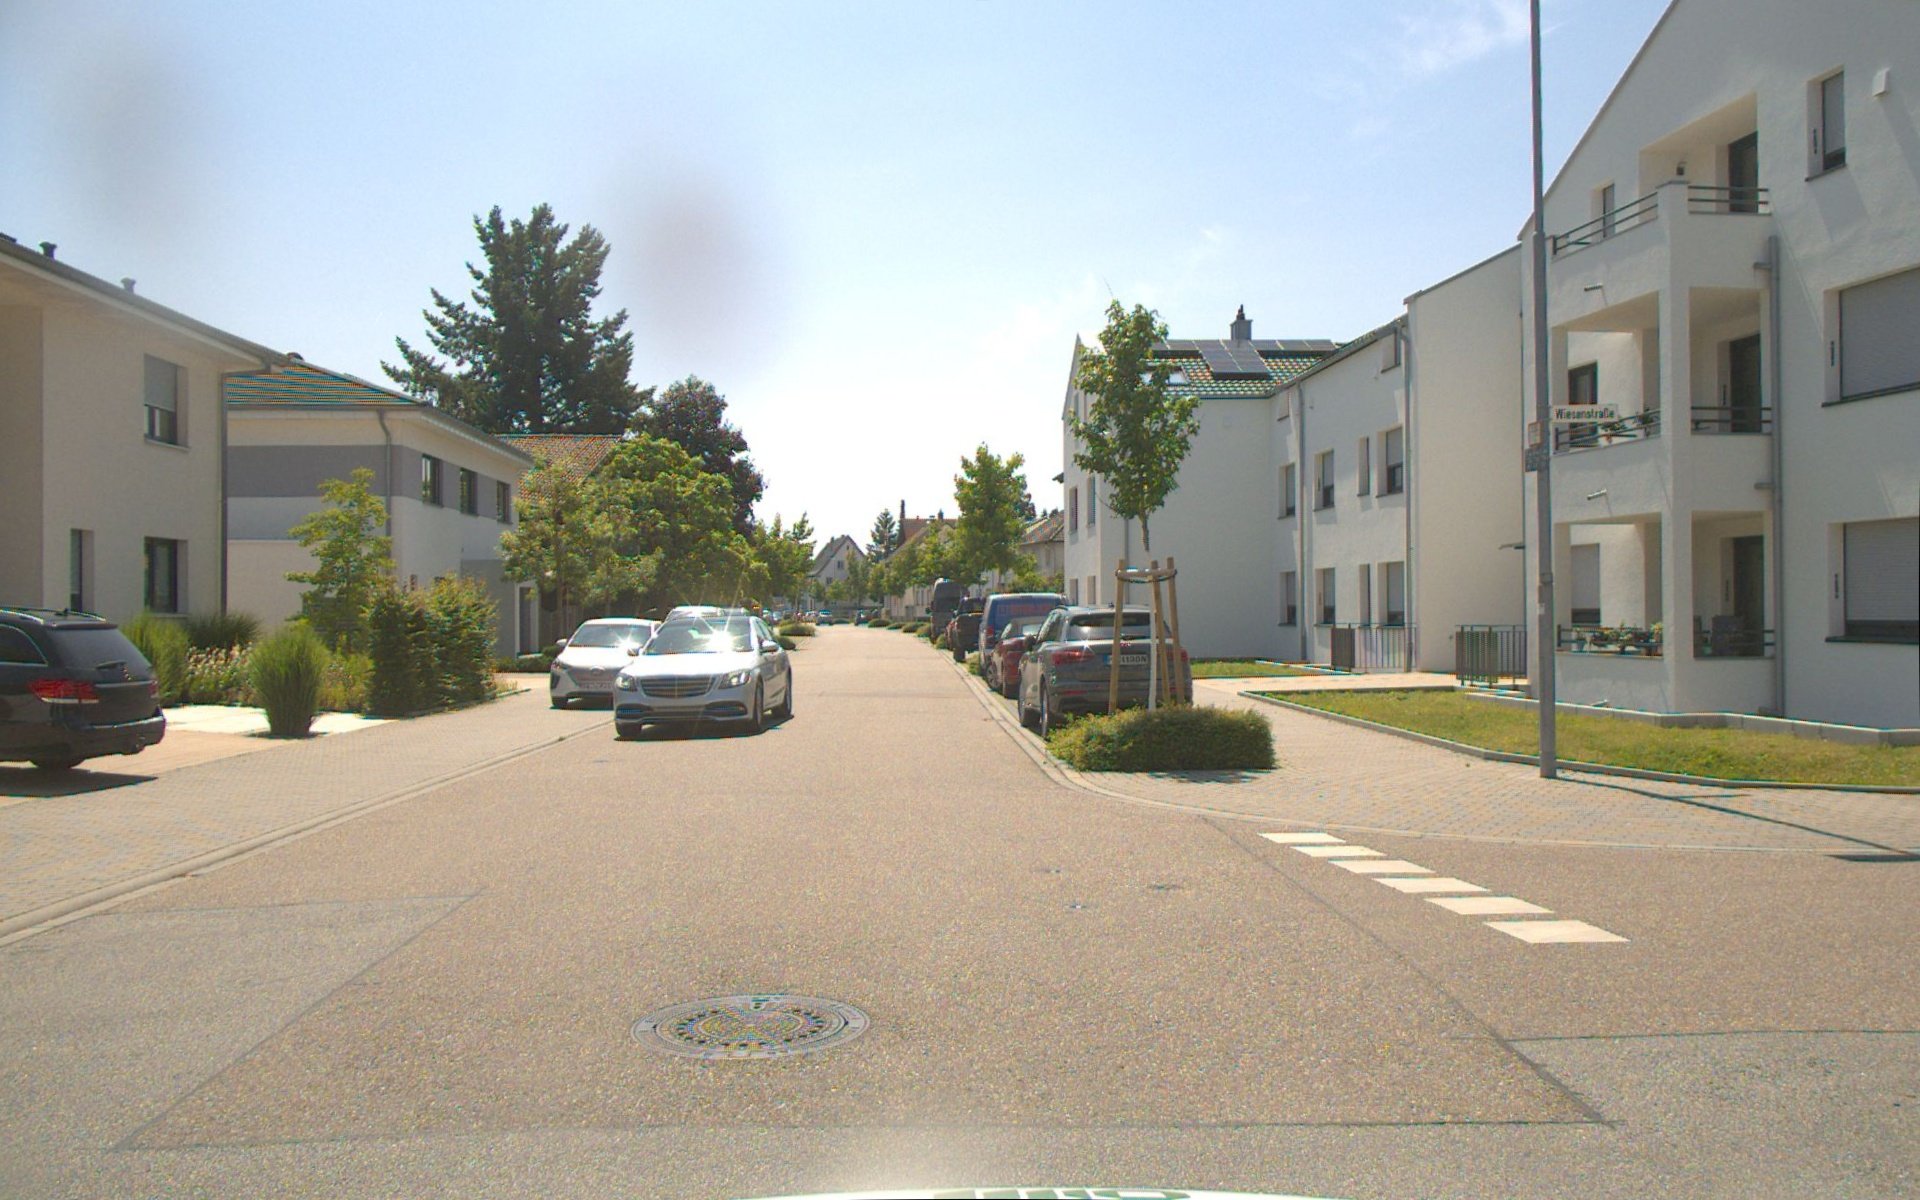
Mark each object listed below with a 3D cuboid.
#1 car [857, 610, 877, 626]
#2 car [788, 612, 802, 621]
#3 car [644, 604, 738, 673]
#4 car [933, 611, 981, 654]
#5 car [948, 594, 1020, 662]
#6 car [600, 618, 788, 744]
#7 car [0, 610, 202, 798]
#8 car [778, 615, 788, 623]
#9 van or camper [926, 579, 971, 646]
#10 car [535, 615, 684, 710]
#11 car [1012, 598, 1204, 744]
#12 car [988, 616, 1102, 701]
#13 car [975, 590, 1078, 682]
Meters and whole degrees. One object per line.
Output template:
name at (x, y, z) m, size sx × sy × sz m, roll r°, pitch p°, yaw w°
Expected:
car at (-9.573, 1.887, 170.744) m, size 1.953 × 1.601 × 3.998 m, roll -1°, pitch 0°, yaw -2°
car at (-23.036, 2.338, 230.613) m, size 1.634 × 1.272 × 3.920 m, roll -1°, pitch 0°, yaw -11°
car at (-7.088, 0.979, 44.021) m, size 1.888 × 1.716 × 4.496 m, roll -1°, pitch 0°, yaw -2°
car at (-0.153, 1.285, 66.252) m, size 1.637 × 1.623 × 3.553 m, roll -1°, pitch 0°, yaw -4°
car at (0.695, 0.849, 51.732) m, size 1.953 × 1.981 × 5.212 m, roll -2°, pitch 0°, yaw -2°
car at (-3.490, 1.017, 22.560) m, size 1.815 × 1.504 × 4.699 m, roll -1°, pitch 0°, yaw 0°
car at (-9.477, 0.826, 14.938) m, size 4.337 × 1.499 × 1.851 m, roll 3°, pitch -1°, yaw 2°
car at (-25.592, 2.714, 239.243) m, size 1.167 × 1.089 × 3.045 m, roll -1°, pitch 0°, yaw -11°
van or camper at (-0.563, 0.597, 76.741) m, size 1.953 × 2.993 × 3.998 m, roll -1°, pitch 0°, yaw -2°
car at (-6.081, 1.036, 29.172) m, size 1.814 × 1.514 × 4.383 m, roll -1°, pitch 0°, yaw -2°
car at (1.750, 0.819, 20.936) m, size 1.738 × 1.623 × 4.275 m, roll -1°, pitch 0°, yaw -4°
car at (1.526, 1.044, 31.051) m, size 1.647 × 1.467 × 4.023 m, roll -1°, pitch 0°, yaw -4°
car at (1.436, 0.781, 37.578) m, size 2.057 × 1.915 × 4.841 m, roll -1°, pitch 0°, yaw -1°
